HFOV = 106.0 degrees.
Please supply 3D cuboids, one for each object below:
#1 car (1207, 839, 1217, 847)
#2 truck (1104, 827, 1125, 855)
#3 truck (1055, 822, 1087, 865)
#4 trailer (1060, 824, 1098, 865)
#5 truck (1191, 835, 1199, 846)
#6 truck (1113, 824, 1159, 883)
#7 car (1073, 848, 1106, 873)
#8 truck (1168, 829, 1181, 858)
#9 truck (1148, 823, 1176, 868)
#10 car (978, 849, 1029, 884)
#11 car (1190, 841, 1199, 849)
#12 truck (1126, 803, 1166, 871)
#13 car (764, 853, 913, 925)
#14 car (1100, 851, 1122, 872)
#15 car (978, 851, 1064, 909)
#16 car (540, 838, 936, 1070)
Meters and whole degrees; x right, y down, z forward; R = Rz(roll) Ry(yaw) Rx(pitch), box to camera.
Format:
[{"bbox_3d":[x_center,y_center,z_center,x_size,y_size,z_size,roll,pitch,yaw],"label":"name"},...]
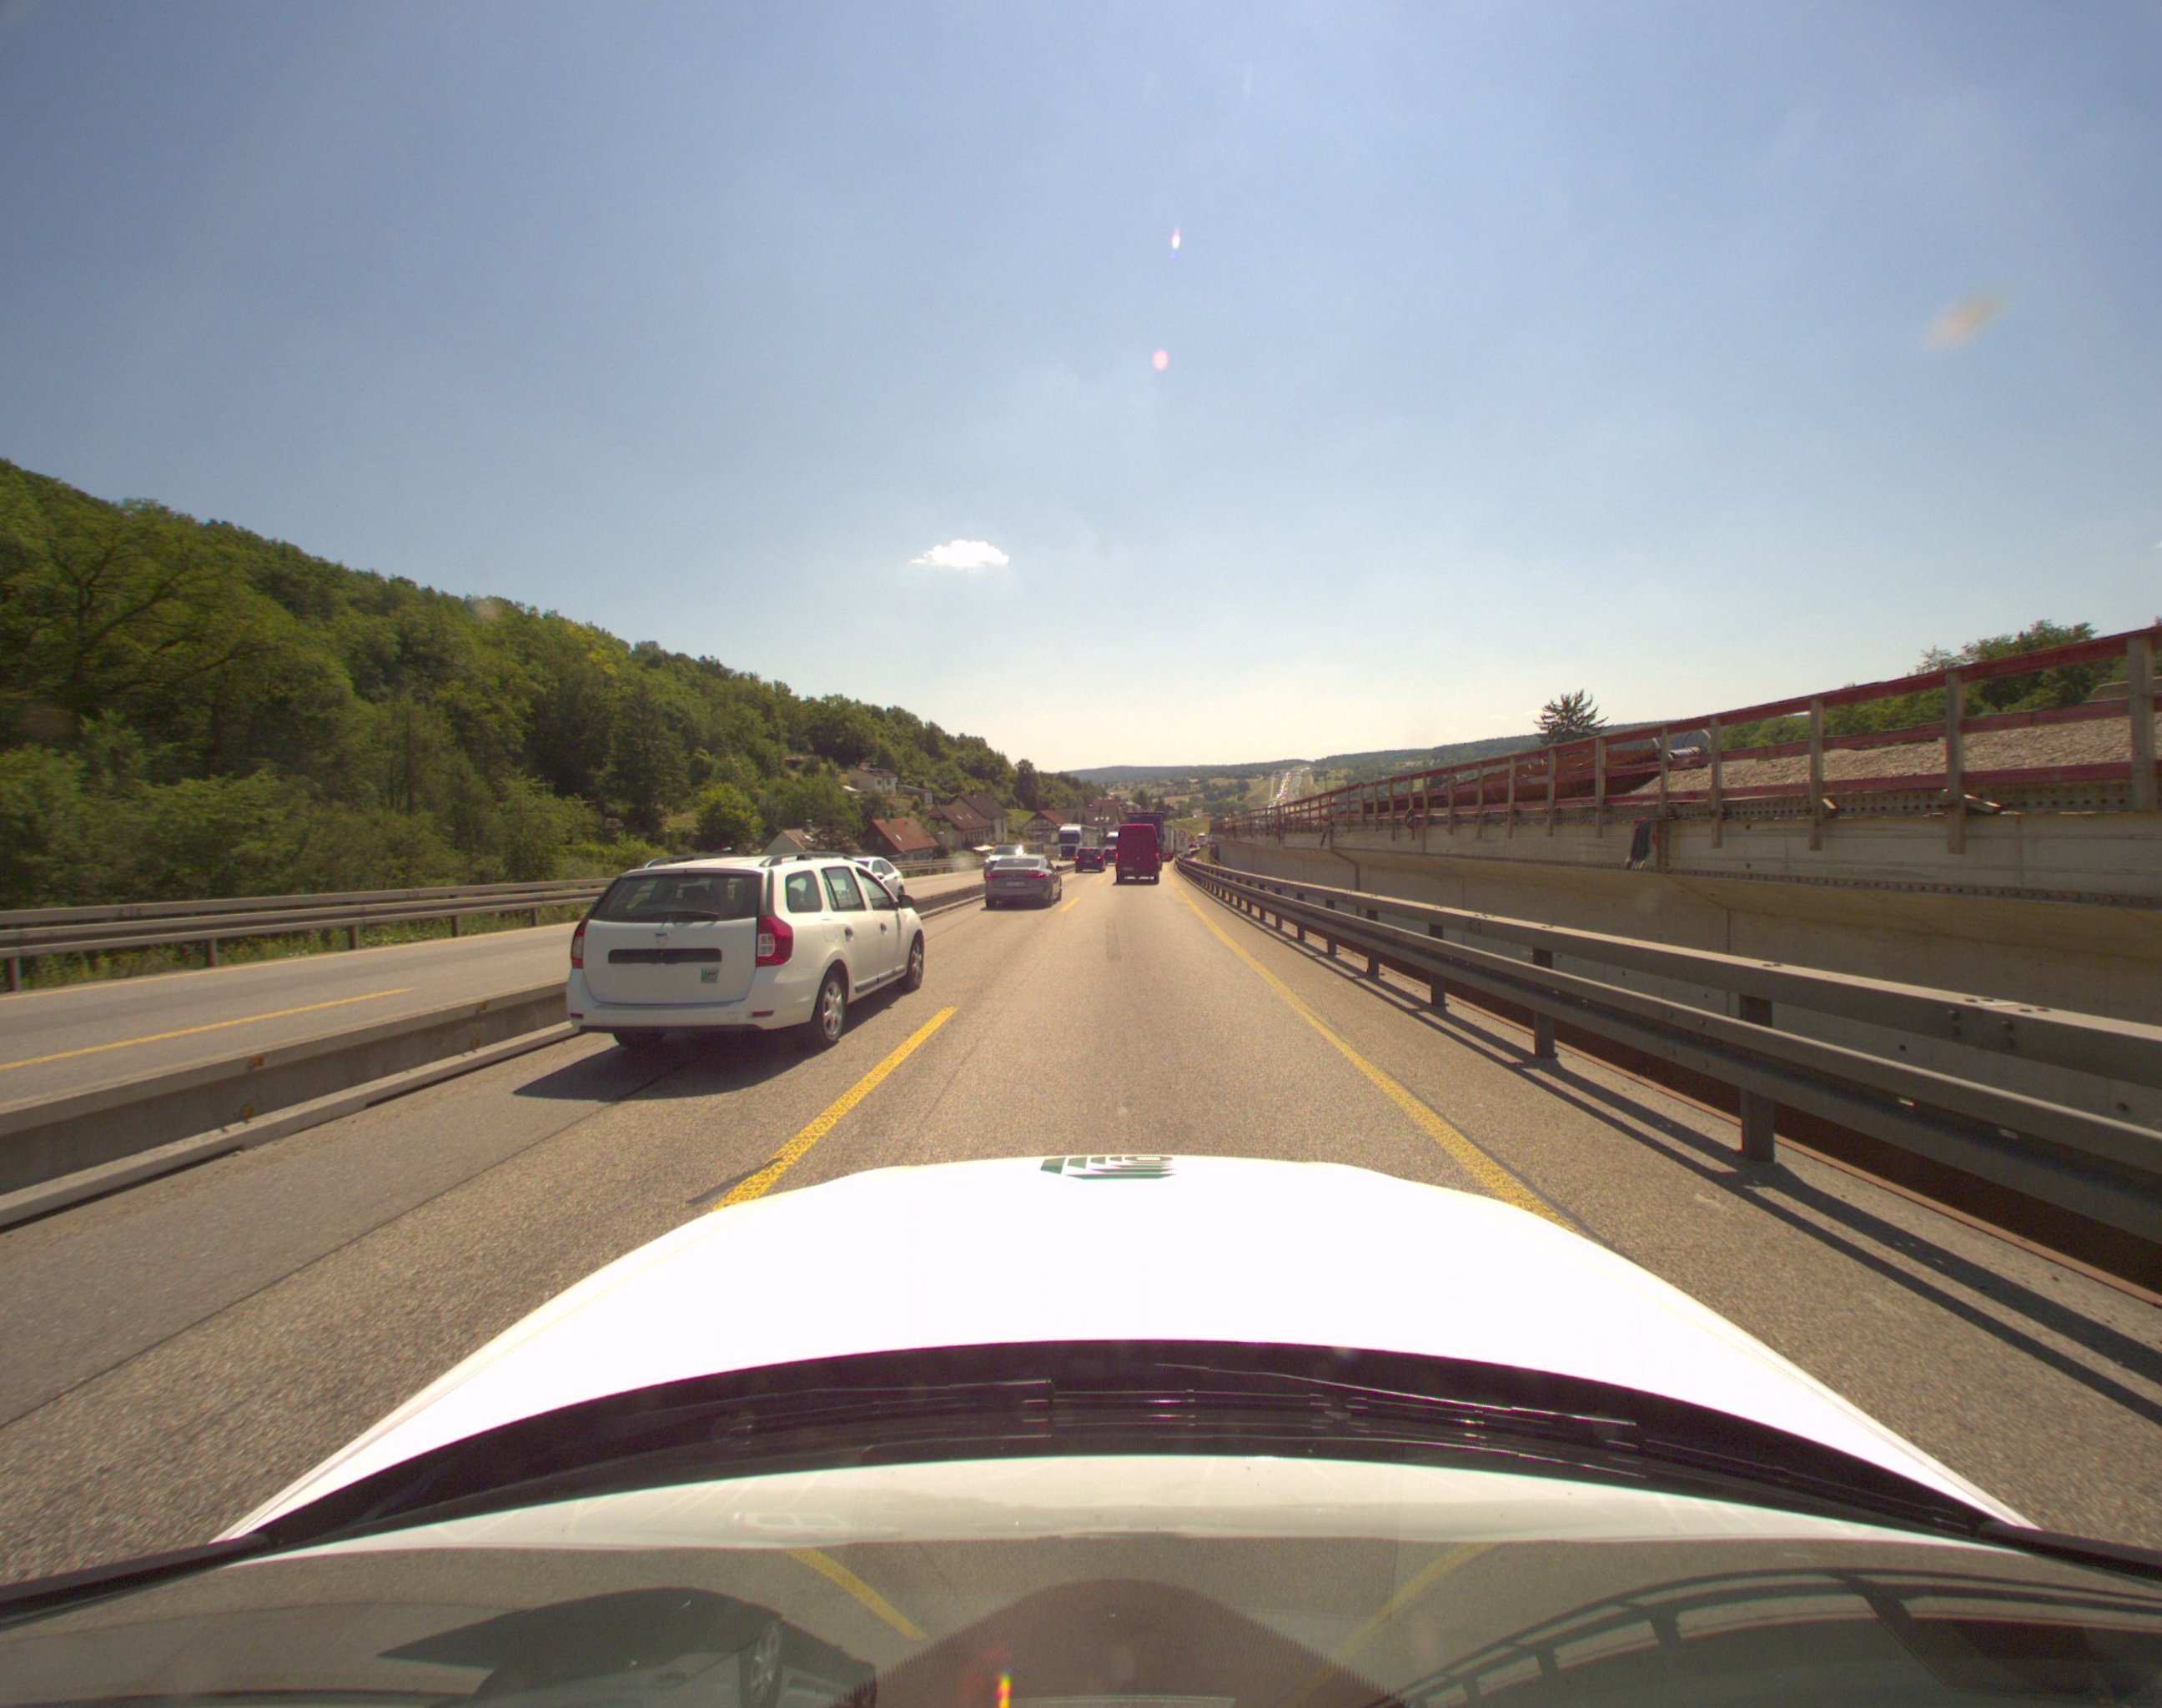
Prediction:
[{"bbox_3d":[35.731,-3.077,222.663,2.115,2.014,4.017,0,-1,17],"label":"car"},{"bbox_3d":[5.684,-2.109,136.263,2.830,4.580,5.801,0,-1,9],"label":"truck"},{"bbox_3d":[-1.099,-1.131,94.638,3.043,4.821,4.656,0,-1,9],"label":"truck"},{"bbox_3d":[-0.058,-1.043,102.118,3.048,4.815,14.029,0,-1,7],"label":"trailer"},{"bbox_3d":[17.661,-2.108,126.327,1.307,1.542,3.158,0,-1,8],"label":"truck"},{"bbox_3d":[2.601,-0.013,37.629,1.984,2.578,4.006,0,-1,6],"label":"truck"},{"bbox_3d":[0.608,0.446,53.632,1.801,1.608,3.725,0,-1,6],"label":"car"},{"bbox_3d":[14.164,-1.549,122.949,1.983,4.381,4.007,0,-1,7],"label":"truck"},{"bbox_3d":[9.045,-0.835,91.956,2.774,4.816,9.694,0,-1,4],"label":"truck"},{"bbox_3d":[-3.911,0.583,41.716,1.903,1.705,4.740,0,0,3],"label":"car"},{"bbox_3d":[29.235,-2.397,210.068,1.790,2.013,4.016,1,0,14],"label":"car"},{"bbox_3d":[4.851,-1.139,61.861,2.774,4.816,9.694,0,-1,4],"label":"truck"},{"bbox_3d":[-5.478,0.715,19.080,1.903,1.486,4.481,0,0,3],"label":"car"},{"bbox_3d":[2.699,0.670,72.388,1.721,1.838,4.006,0,-1,6],"label":"car"},{"bbox_3d":[-1.589,0.676,23.029,1.786,1.485,4.055,-1,0,5],"label":"car"},{"bbox_3d":[-2.672,0.682,7.551,1.645,1.483,4.269,-2,-1,3],"label":"car"}]
